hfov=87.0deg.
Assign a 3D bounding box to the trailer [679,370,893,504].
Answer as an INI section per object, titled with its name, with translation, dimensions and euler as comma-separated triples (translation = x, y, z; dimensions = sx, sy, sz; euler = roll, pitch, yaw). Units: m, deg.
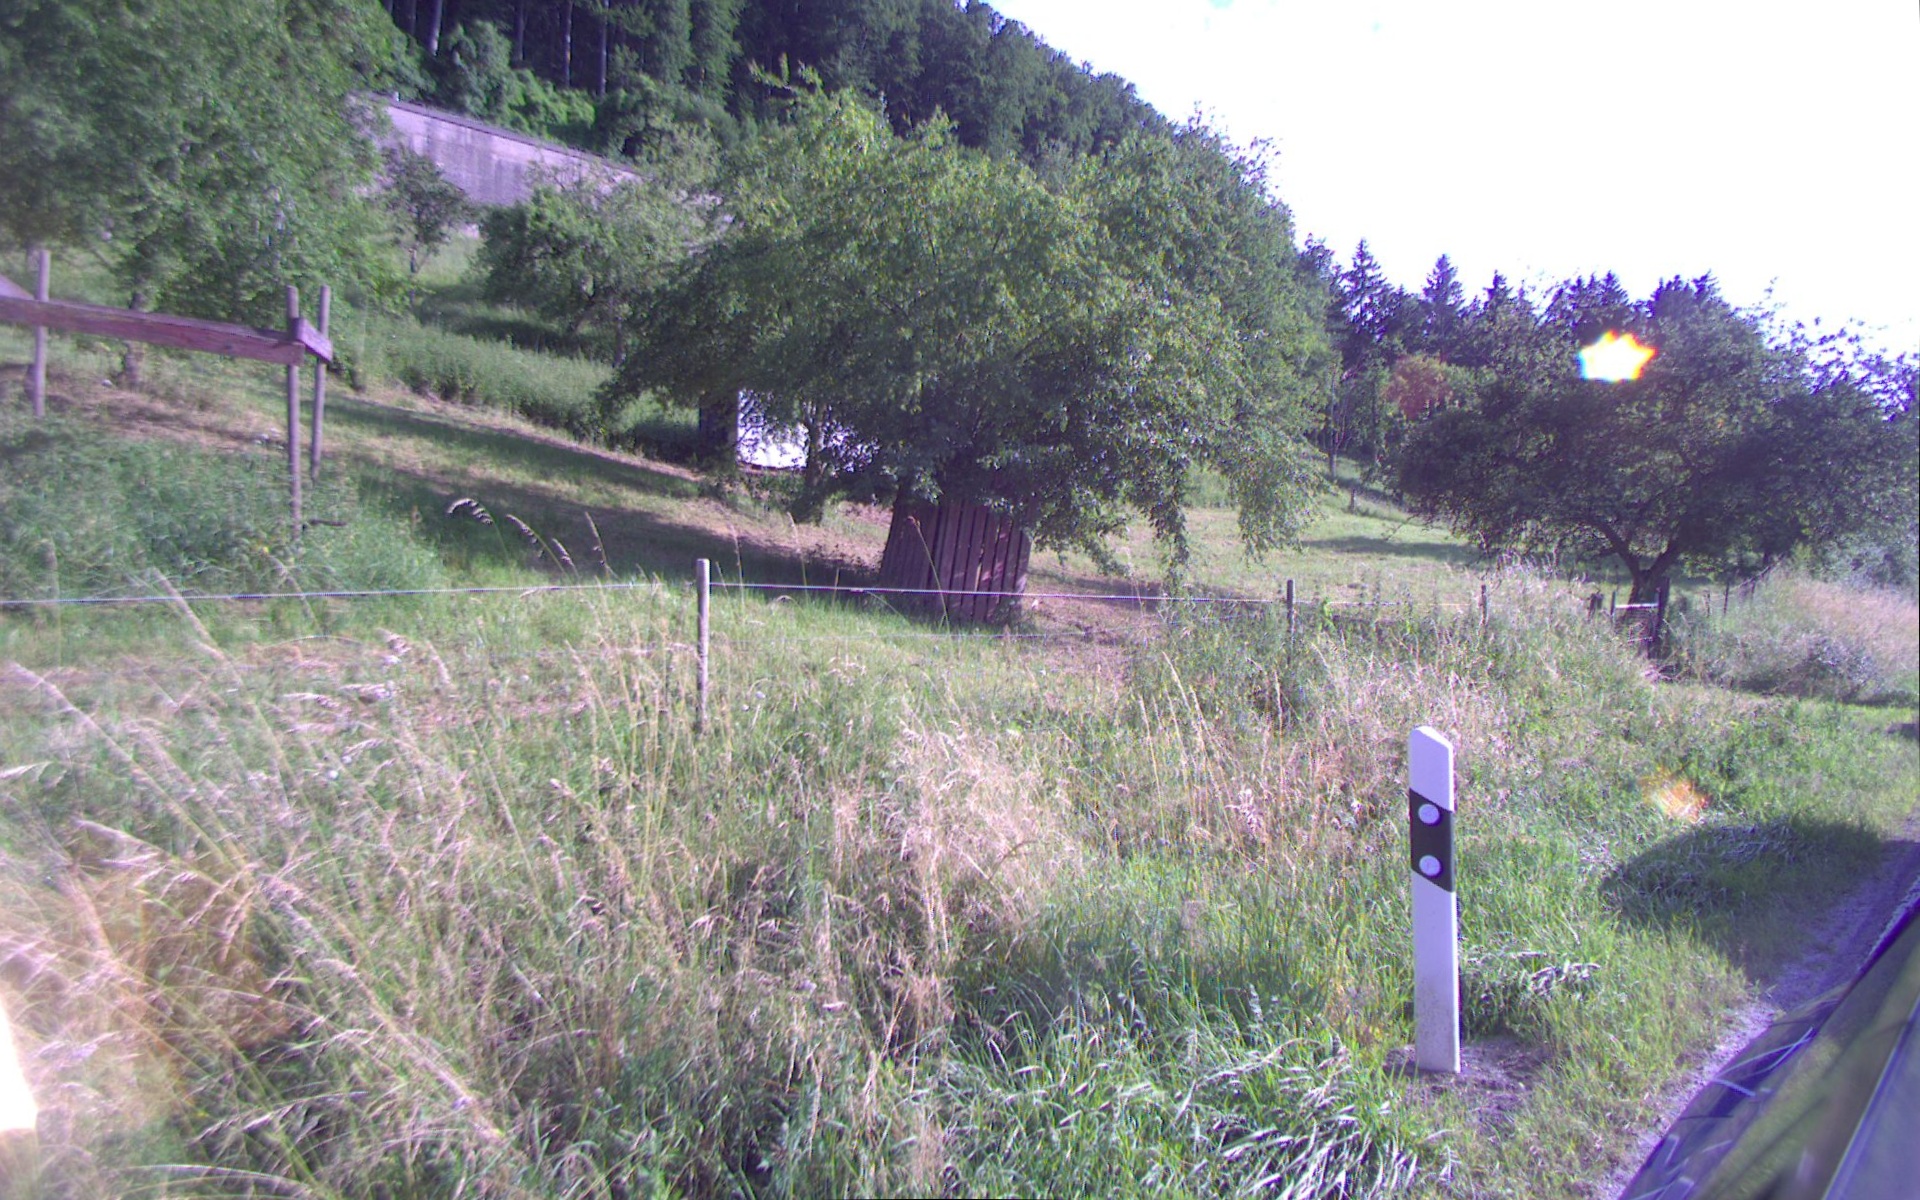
[trailer]
translation = -4.505, -4.160, 26.862
dimensions = 5.159, 2.590, 2.154
euler = 4, 0, -45
